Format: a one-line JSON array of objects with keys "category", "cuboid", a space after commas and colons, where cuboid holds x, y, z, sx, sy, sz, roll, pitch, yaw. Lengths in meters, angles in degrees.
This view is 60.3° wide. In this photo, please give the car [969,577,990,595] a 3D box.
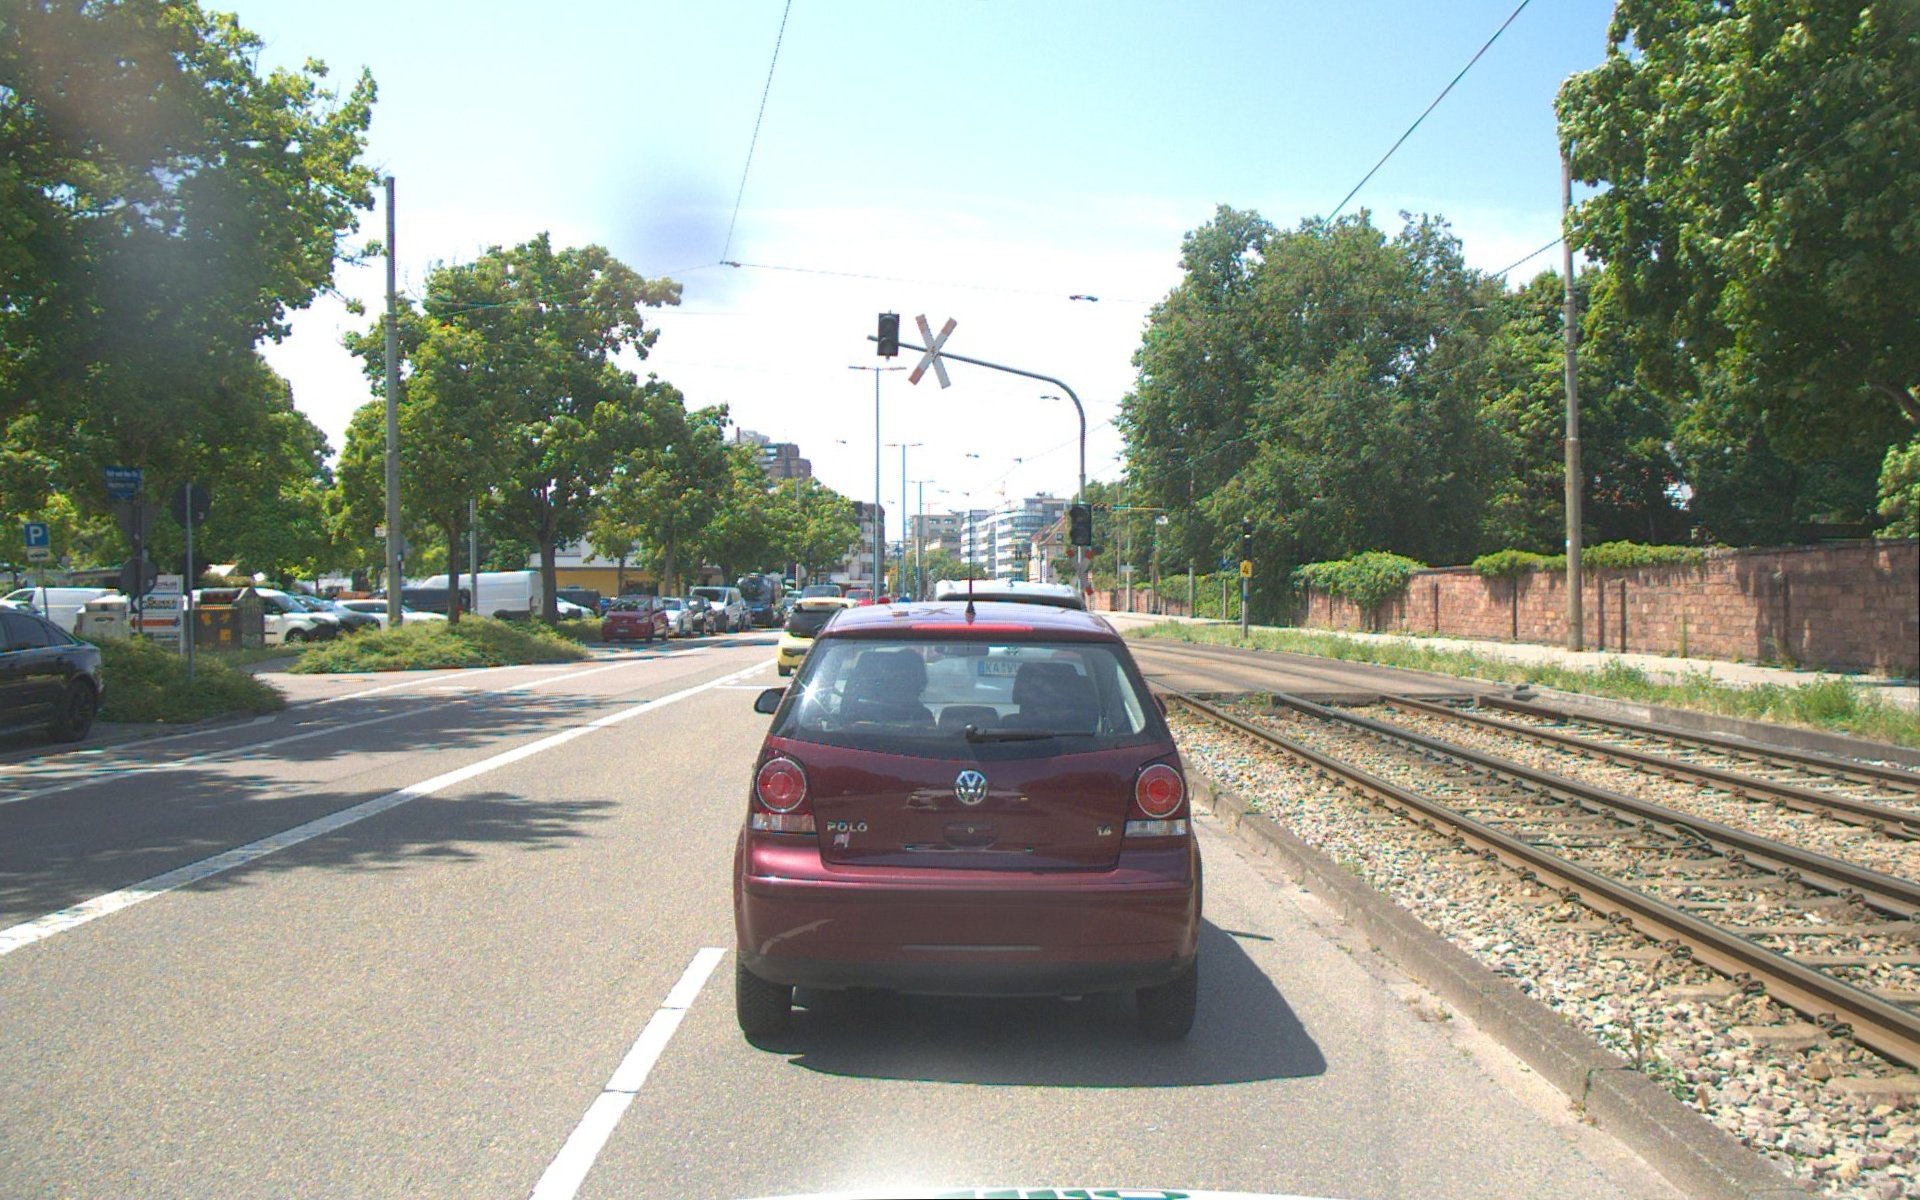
[{"category": "car", "cuboid": [2.132, -1.573, 185.630, 1.881, 1.944, 4.566, -1, 0, -5]}]

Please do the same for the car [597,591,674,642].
[{"category": "car", "cuboid": [-10.509, 0.523, 53.811, 1.637, 1.573, 3.727, 1, 0, 2]}]

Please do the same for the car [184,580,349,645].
[{"category": "car", "cuboid": [-20.528, 0.365, 49.039, 4.178, 1.867, 1.673, -1, 0, 1]}]

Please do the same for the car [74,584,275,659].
[{"category": "car", "cuboid": [-20.927, 0.555, 44.214, 4.361, 1.889, 2.059, -1, 0, -5]}]

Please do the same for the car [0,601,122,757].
[{"category": "car", "cuboid": [-10.230, 0.767, 16.131, 1.856, 1.482, 4.807, 1, 0, -3]}]

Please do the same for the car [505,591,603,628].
[{"category": "car", "cuboid": [-21.024, 0.469, 85.817, 4.623, 1.845, 1.796, -1, 0, -2]}]

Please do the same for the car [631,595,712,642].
[{"category": "car", "cuboid": [-10.552, 0.657, 60.830, 1.683, 1.451, 4.774, -5, 0, 4]}]

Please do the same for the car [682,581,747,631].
[{"category": "car", "cuboid": [-10.494, 0.252, 71.031, 1.824, 1.971, 4.806, 3, 0, 2]}]

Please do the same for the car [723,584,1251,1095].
[{"category": "car", "cuboid": [0.055, 0.717, 7.006, 1.577, 1.524, 3.999, 1, 0, -1]}]

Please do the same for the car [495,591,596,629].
[{"category": "car", "cuboid": [-20.920, 0.482, 83.569, 4.623, 1.845, 1.796, -1, 0, -2]}]

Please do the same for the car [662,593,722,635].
[{"category": "car", "cuboid": [-10.626, 0.534, 65.748, 1.581, 1.510, 3.785, 3, 0, 2]}]

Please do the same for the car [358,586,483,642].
[{"category": "car", "cuboid": [-20.411, 0.522, 62.734, 4.125, 2.030, 1.856, -1, 0, -2]}]

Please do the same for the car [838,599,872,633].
[{"category": "car", "cuboid": [-6.328, 0.930, 99.857, 1.861, 1.959, 4.818, -1, 0, -2]}]

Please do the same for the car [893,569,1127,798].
[{"category": "car", "cuboid": [0.351, 0.628, 14.558, 1.759, 1.712, 3.999, 1, 0, -1]}]

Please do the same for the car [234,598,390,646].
[{"category": "car", "cuboid": [-20.372, 0.665, 52.113, 4.114, 1.428, 2.079, -1, 0, -5]}]

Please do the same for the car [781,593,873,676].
[{"category": "car", "cuboid": [-2.506, 0.616, 31.690, 1.520, 1.473, 3.411, 1, 0, -1]}]

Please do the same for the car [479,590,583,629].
[{"category": "car", "cuboid": [-21.070, 0.474, 81.341, 4.623, 1.845, 1.796, -1, 0, -2]}]

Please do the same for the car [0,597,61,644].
[{"category": "car", "cuboid": [-33.723, 0.709, 57.778, 3.670, 1.603, 1.732, 0, 0, -1]}]

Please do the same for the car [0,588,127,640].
[{"category": "car", "cuboid": [-32.855, 0.498, 60.211, 4.044, 1.852, 1.970, 0, 0, -1]}]

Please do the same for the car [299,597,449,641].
[{"category": "car", "cuboid": [-21.174, 0.688, 59.892, 4.665, 1.514, 2.057, -1, 0, -2]}]

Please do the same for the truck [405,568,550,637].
[{"category": "truck", "cuboid": [-20.547, 0.101, 70.627, 5.463, 2.808, 2.432, -1, 0, 0]}]

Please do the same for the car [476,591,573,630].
[{"category": "car", "cuboid": [-20.816, 0.507, 79.157, 4.125, 1.796, 1.856, -1, 0, -2]}]
